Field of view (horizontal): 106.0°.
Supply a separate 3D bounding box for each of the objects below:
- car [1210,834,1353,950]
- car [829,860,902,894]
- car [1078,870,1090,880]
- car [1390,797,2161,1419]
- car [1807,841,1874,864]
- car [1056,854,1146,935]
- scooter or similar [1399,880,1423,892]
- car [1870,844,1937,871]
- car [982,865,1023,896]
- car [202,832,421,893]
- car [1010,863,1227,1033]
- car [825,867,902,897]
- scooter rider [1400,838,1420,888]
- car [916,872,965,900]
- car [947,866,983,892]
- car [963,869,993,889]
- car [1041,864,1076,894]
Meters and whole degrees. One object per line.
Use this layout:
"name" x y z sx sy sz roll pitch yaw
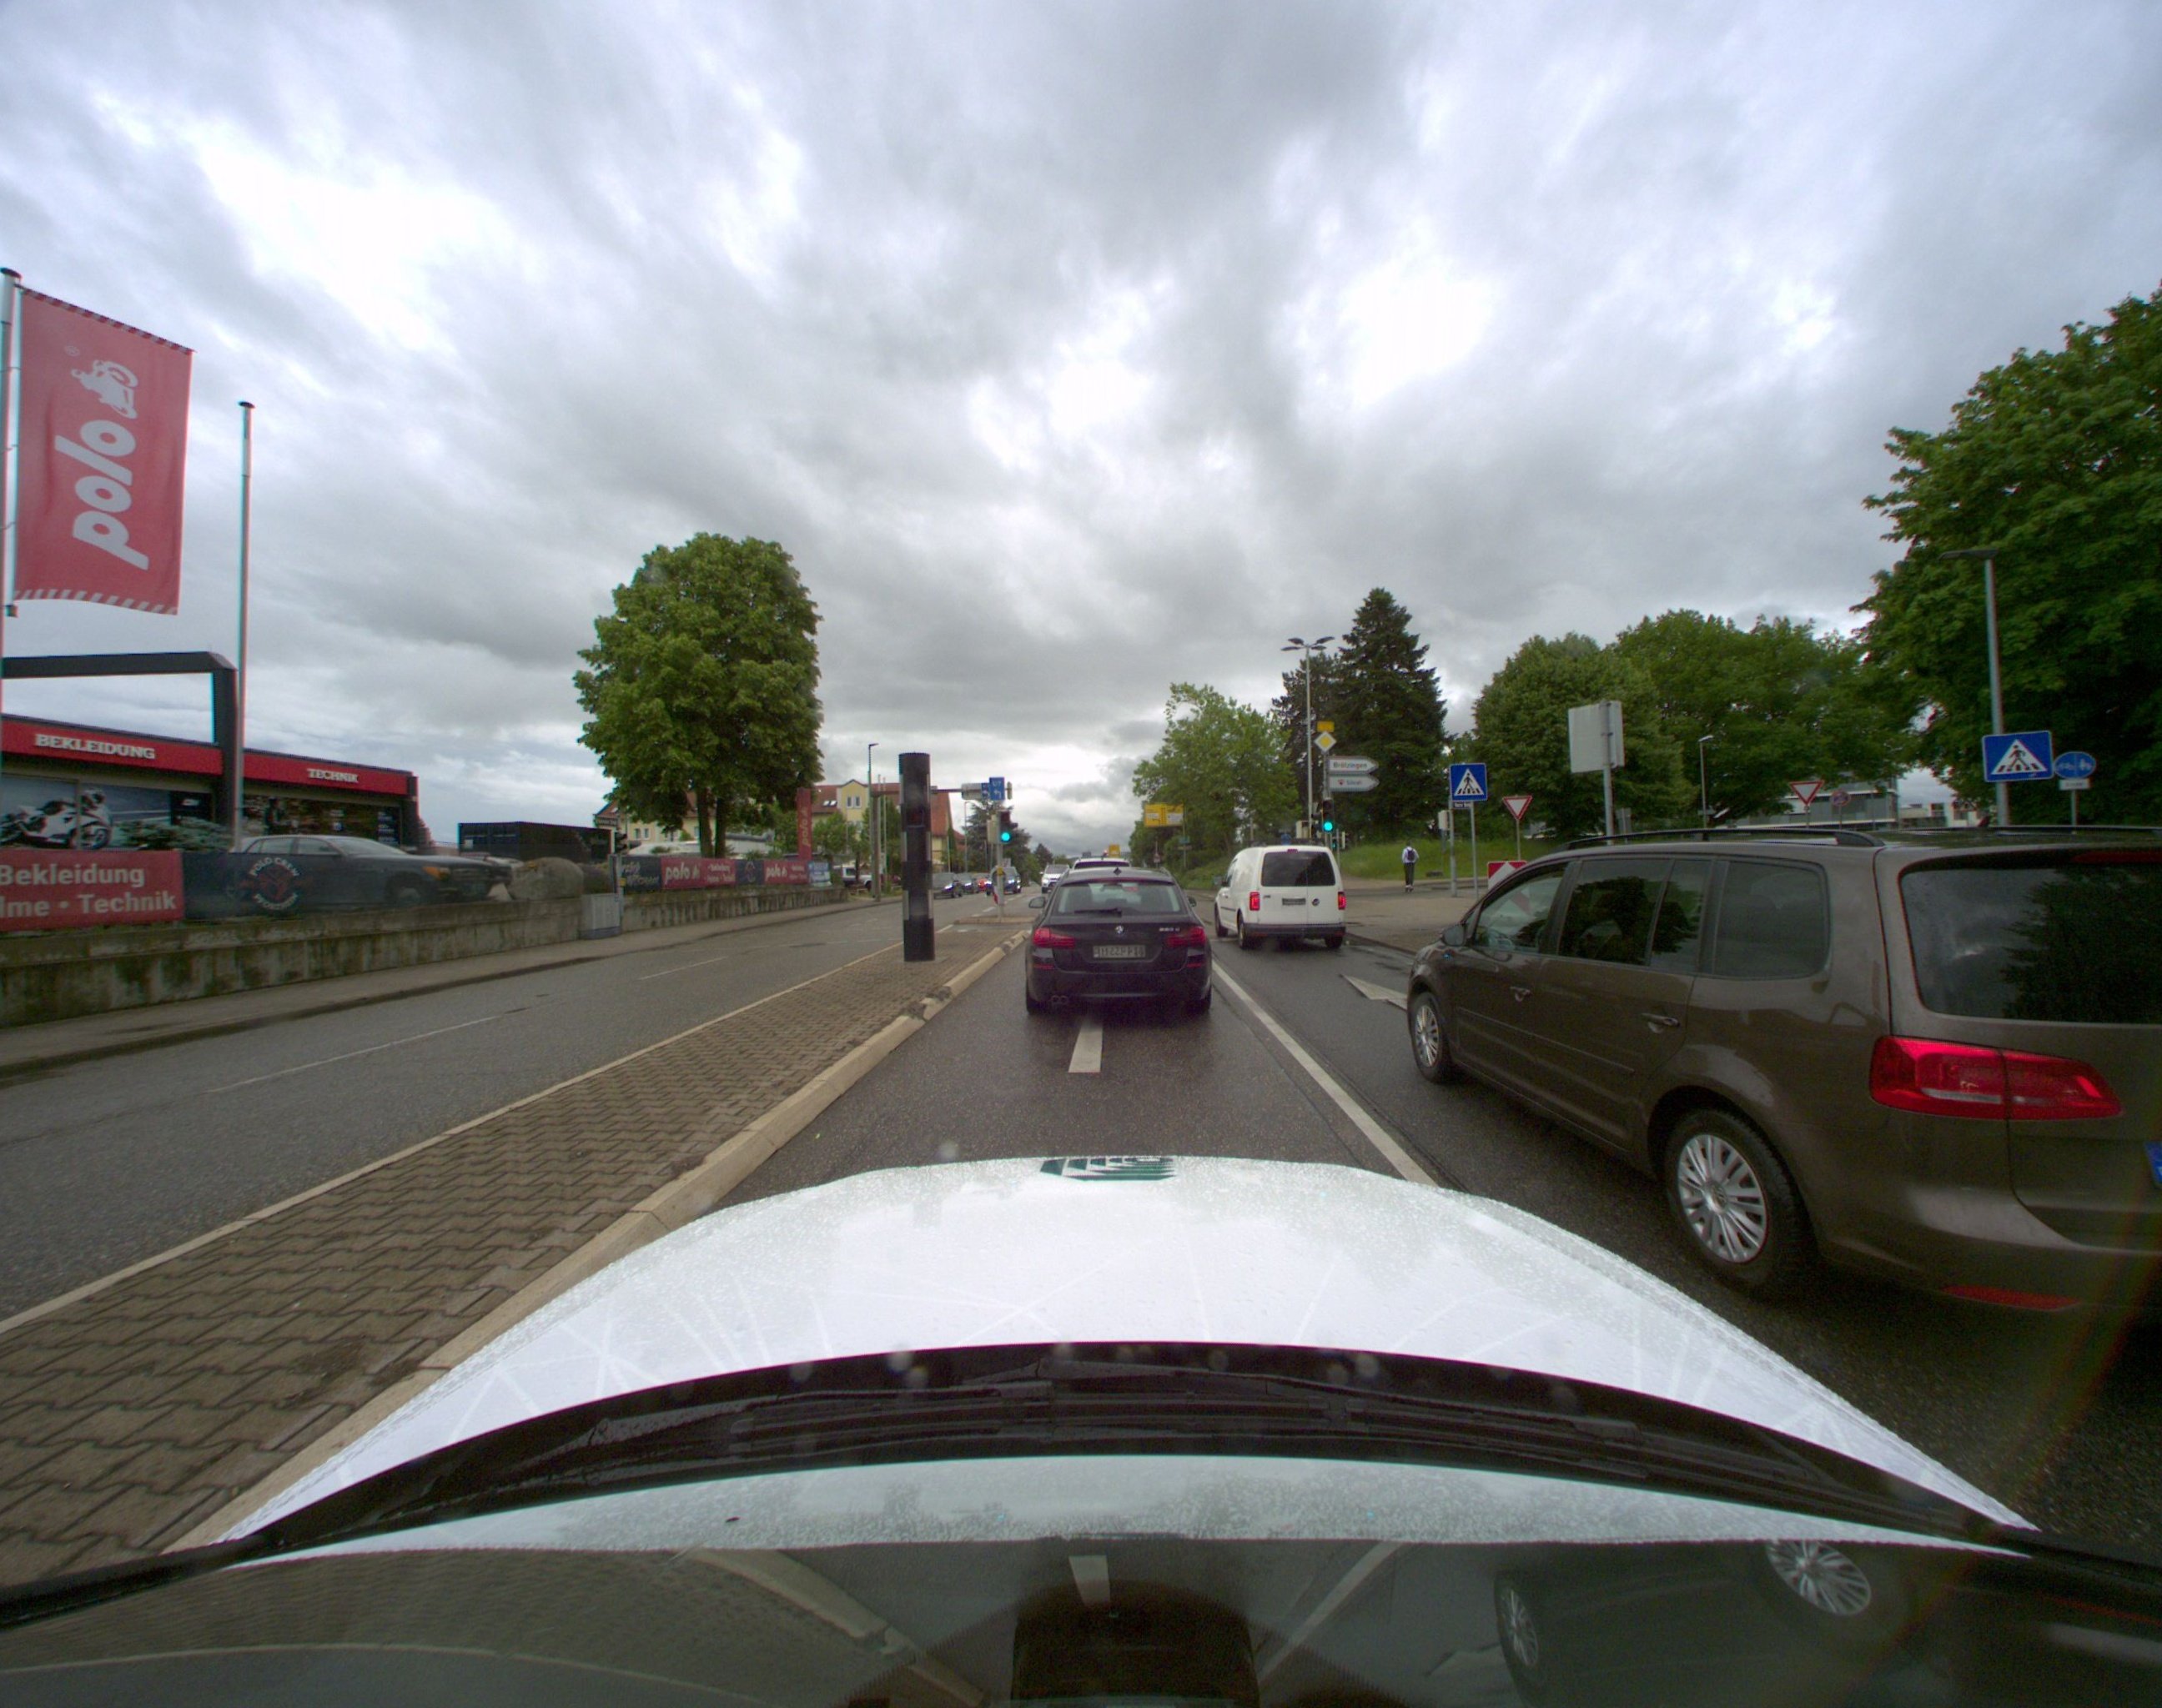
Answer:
"car" 3.567 0.621 15.162 1.758 1.877 3.806 -1 0 1
"car" -14.712 1.543 55.682 4.410 2.013 1.982 -3 -1 -27
"car" 0.493 3.583 138.373 1.861 1.673 4.002 -1 0 2
"car" 3.133 0.678 4.103 1.740 1.609 3.982 -1 -1 2
"car" 55.615 -0.091 59.629 3.999 1.428 1.840 -3 -2 -19
"car" 0.487 0.851 18.962 1.861 1.673 4.002 -1 0 2
"scooter or similar" 13.141 1.267 32.470 0.485 0.403 1.256 -2 0 1
"car" 64.959 0.288 64.302 3.992 1.859 1.844 -3 -2 -14
"car" -4.620 1.540 48.544 1.833 1.649 4.297 -3 -1 1
"car" -16.916 0.183 18.012 3.376 1.167 1.453 -2 0 -1
"car" 0.403 0.852 9.200 1.891 1.441 4.002 -1 0 2
"car" -15.577 2.007 58.368 5.024 1.702 1.982 -3 -3 -27
"scooter rider" 13.120 0.365 32.488 0.499 1.965 0.548 -2 0 1
"car" -7.887 1.785 46.081 1.910 1.379 4.126 -3 -1 1
"car" -7.823 1.653 55.274 1.670 1.618 4.001 -3 0 1
"car" -7.676 1.833 61.211 1.617 1.332 3.947 -3 0 1
"car" -1.296 1.434 47.890 1.833 1.649 4.297 -2 -1 1
